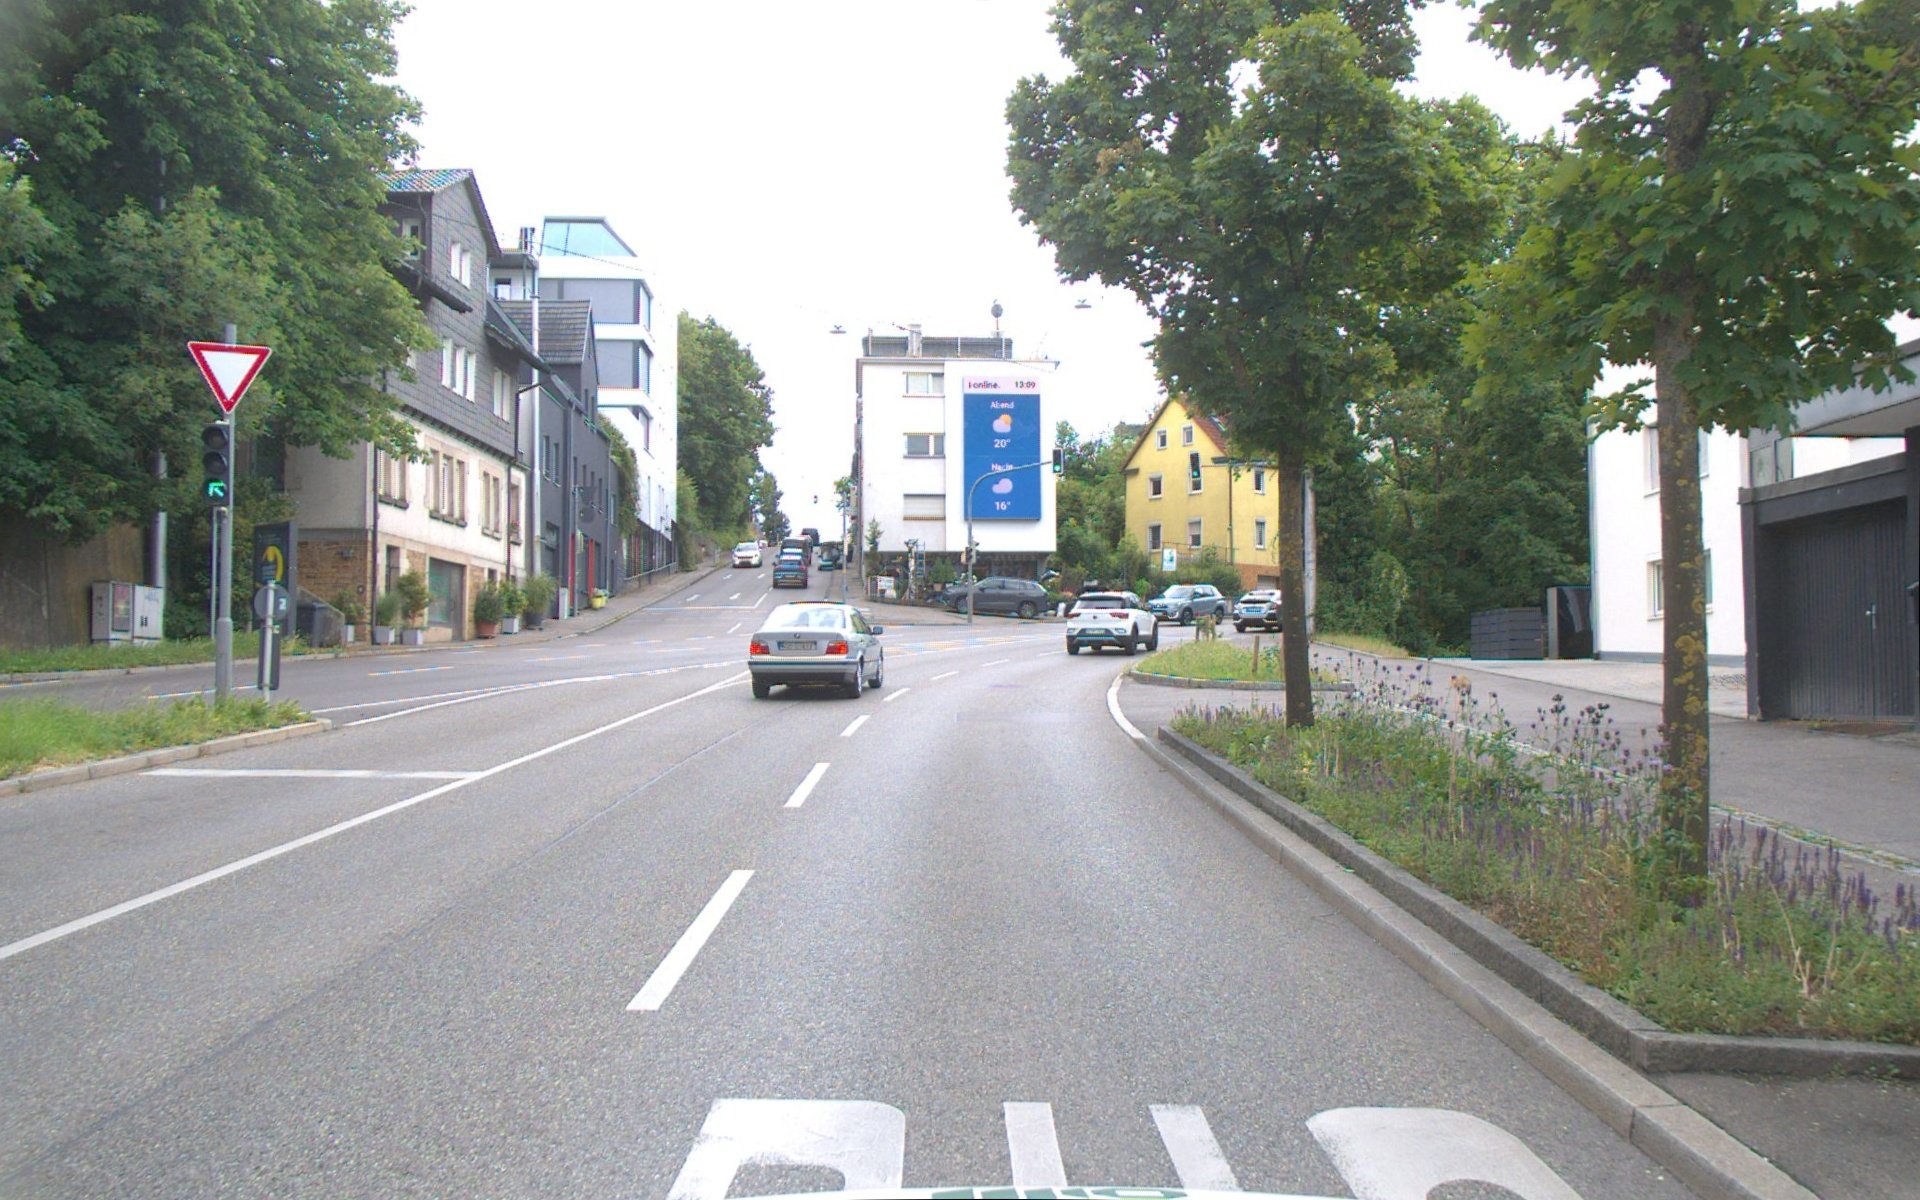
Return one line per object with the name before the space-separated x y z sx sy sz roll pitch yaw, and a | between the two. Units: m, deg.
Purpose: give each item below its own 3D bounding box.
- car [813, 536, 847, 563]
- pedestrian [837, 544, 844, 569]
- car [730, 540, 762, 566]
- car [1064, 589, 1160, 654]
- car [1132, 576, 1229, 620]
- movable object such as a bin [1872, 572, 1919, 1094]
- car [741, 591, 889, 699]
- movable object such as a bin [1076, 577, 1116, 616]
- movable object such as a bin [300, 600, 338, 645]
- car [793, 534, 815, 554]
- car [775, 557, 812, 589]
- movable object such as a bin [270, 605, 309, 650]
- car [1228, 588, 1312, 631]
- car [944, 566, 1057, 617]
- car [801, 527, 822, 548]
car | -8.325 -3.201 106.249 2.047 1.641 3.998 0 1 -3
pedestrian | -7.555 -2.754 104.576 0.448 1.556 0.527 0 -1 -3
car | -14.092 -3.104 109.046 1.845 1.594 4.387 -1 3 -4
car | 4.007 0.516 43.132 1.742 1.606 4.003 0 0 16
car | 8.959 -0.070 66.893 1.867 1.725 4.324 0 0 40
movable object such as a bin | 3.294 0.678 4.257 1.063 1.507 1.537 0 0 1
car | -2.155 0.627 25.548 1.670 1.489 4.002 1 1 4
movable object such as a bin | 6.362 -0.174 77.236 1.725 1.810 1.856 0 0 9
movable object such as a bin | -15.015 0.535 38.752 0.526 1.037 0.647 0 -2 13
car | -13.426 -4.818 142.191 1.744 1.606 3.997 0 1 -4
car | -8.577 -1.379 85.289 1.744 1.606 3.997 1 1 -4
movable object such as a bin | -15.783 0.647 38.945 0.565 1.037 0.647 0 -2 13
car | 10.913 0.298 58.078 1.746 1.434 3.994 1 1 29
car | 1.712 -0.394 71.652 4.596 1.741 2.318 4 3 -4
car | -15.171 -6.379 169.063 1.954 2.049 3.997 1 1 -4
